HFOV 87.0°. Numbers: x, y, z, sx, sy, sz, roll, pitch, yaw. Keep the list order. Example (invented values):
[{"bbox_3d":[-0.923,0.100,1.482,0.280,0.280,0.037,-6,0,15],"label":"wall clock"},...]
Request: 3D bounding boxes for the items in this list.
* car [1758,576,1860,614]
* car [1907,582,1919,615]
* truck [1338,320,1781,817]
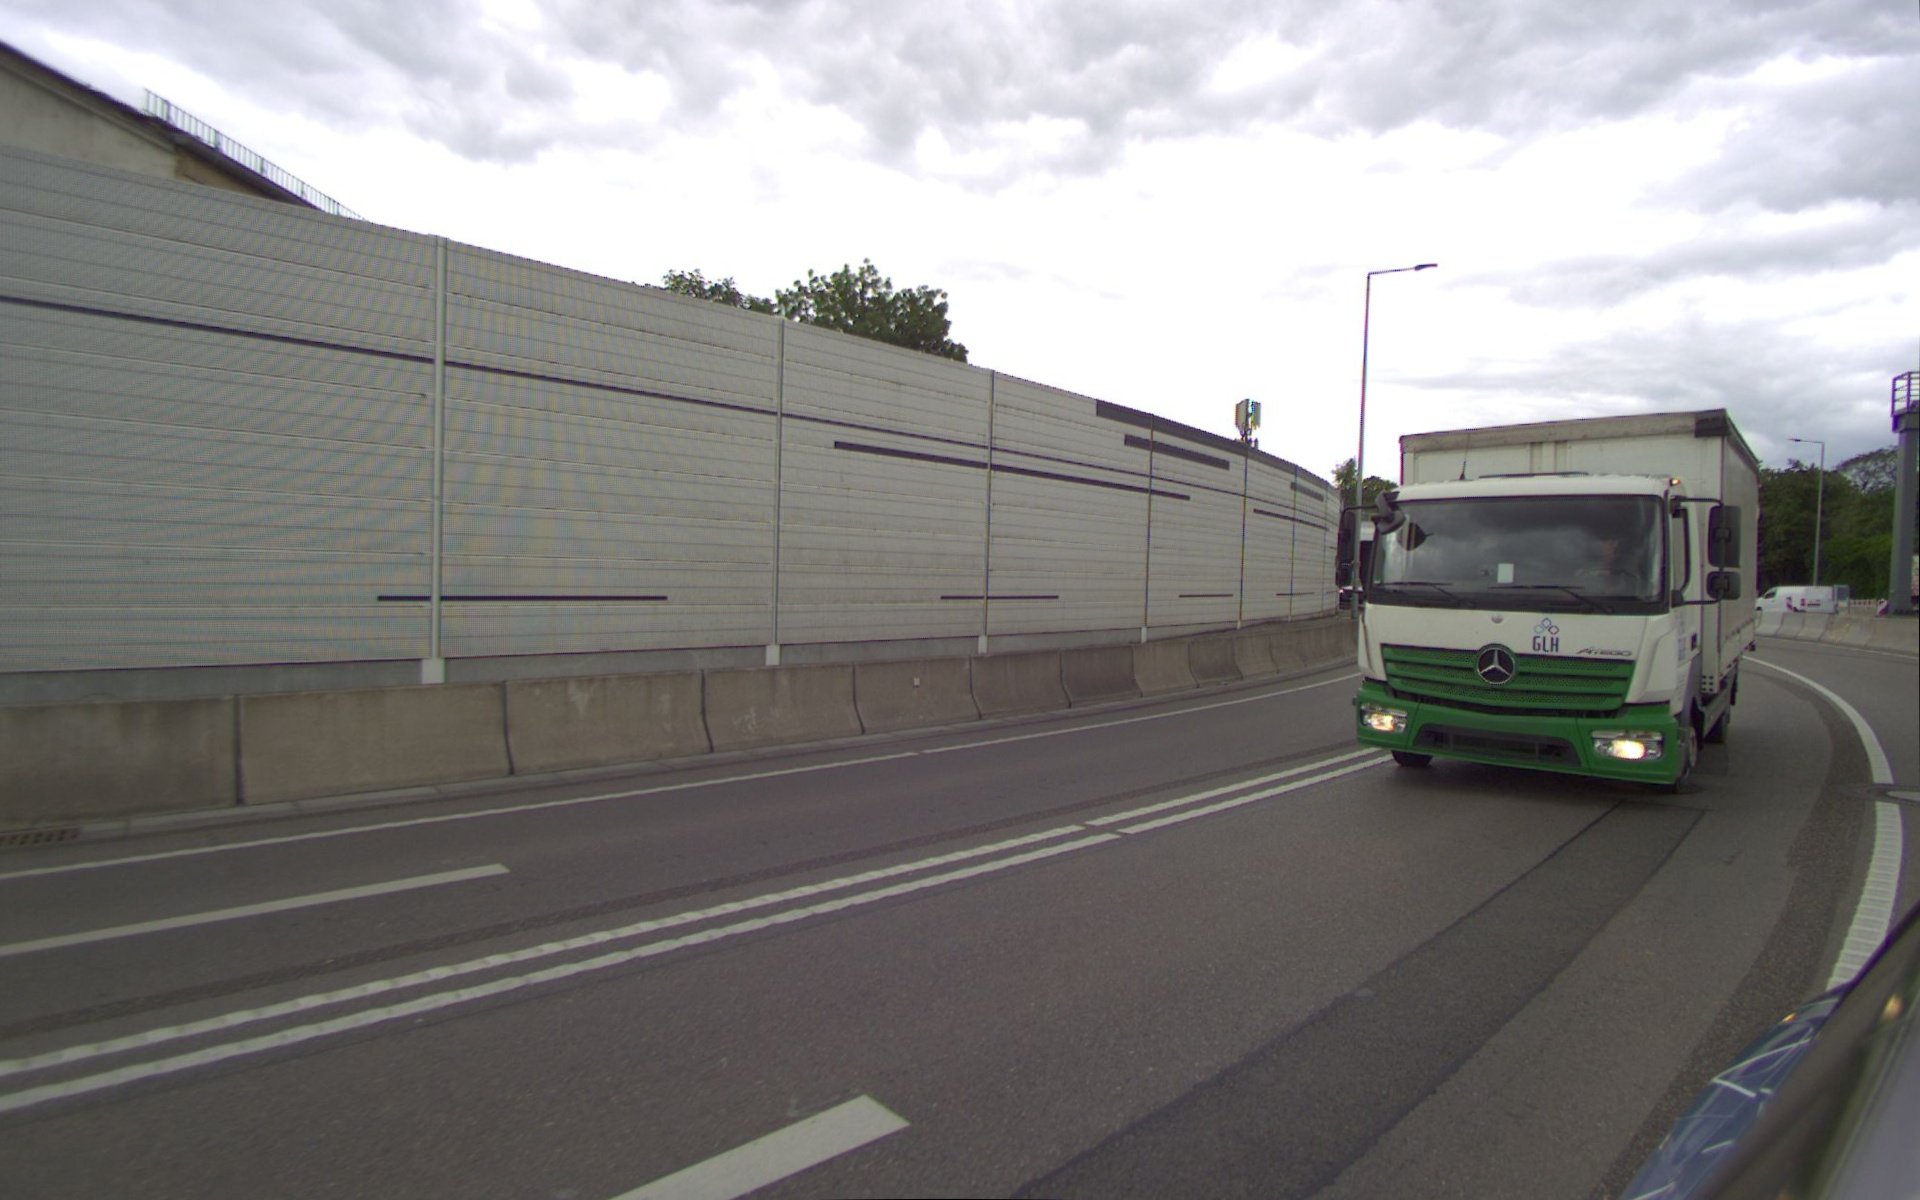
[{"bbox_3d":[47.231,-0.332,56.447,2.210,1.976,5.086,1,1,13],"label":"car"},{"bbox_3d":[43.953,-0.040,44.211,1.973,1.507,4.562,1,1,18],"label":"car"},{"bbox_3d":[6.537,-0.206,10.335,2.626,3.280,7.307,-2,-1,40],"label":"truck"}]
